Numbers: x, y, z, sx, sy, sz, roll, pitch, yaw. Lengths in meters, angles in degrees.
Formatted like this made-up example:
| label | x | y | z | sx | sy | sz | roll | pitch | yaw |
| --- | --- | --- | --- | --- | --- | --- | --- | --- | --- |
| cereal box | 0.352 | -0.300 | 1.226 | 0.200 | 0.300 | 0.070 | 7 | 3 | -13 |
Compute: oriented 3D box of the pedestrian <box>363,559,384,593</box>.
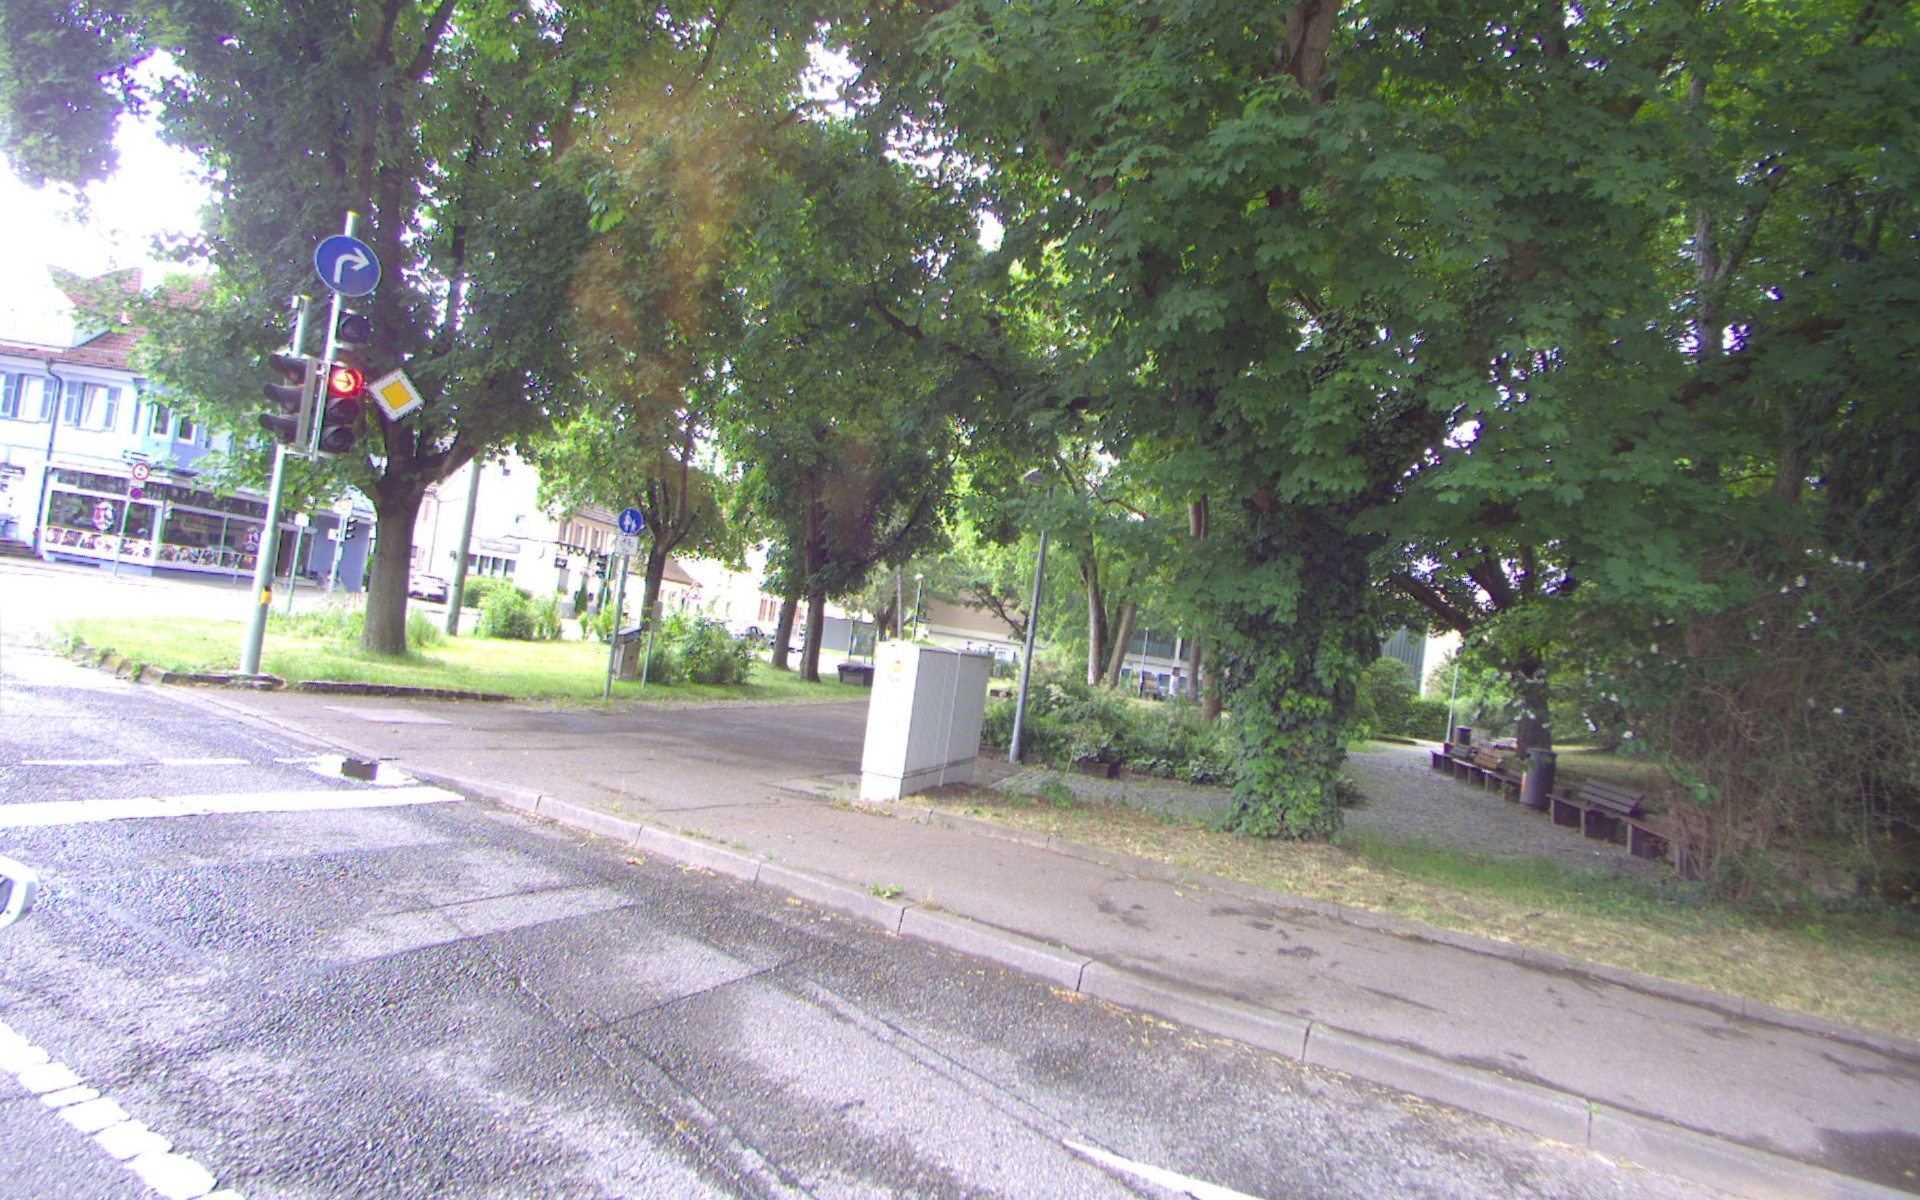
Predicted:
| label | x | y | z | sx | sy | sz | roll | pitch | yaw |
| --- | --- | --- | --- | --- | --- | --- | --- | --- | --- |
| pedestrian | -28.226 | -1.143 | 48.421 | 0.451 | 1.535 | 0.587 | 7 | -1 | 27 |

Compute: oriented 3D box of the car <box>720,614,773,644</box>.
| label | x | y | z | sx | sy | sz | roll | pitch | yaw |
| --- | --- | --- | --- | --- | --- | --- | --- | --- | --- |
| car | -11.569 | 1.597 | 54.820 | 1.530 | 1.336 | 3.514 | 7 | -2 | 9 |

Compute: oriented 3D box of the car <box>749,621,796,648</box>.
| label | x | y | z | sx | sy | sz | roll | pitch | yaw |
| --- | --- | --- | --- | --- | --- | --- | --- | --- | --- |
| car | -11.167 | 2.070 | 60.105 | 1.530 | 1.336 | 3.514 | 7 | -2 | 8 |

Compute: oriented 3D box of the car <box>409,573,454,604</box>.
| label | x | y | z | sx | sy | sz | roll | pitch | yaw |
| --- | --- | --- | --- | --- | --- | --- | --- | --- | --- |
| car | -27.871 | -0.603 | 53.144 | 1.479 | 1.384 | 3.166 | 8 | -2 | -19 |

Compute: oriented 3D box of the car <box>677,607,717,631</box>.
| label | x | y | z | sx | sy | sz | roll | pitch | yaw |
| --- | --- | --- | --- | --- | --- | --- | --- | --- | --- |
| car | -19.370 | 1.442 | 74.248 | 1.528 | 1.436 | 4.005 | 7 | -2 | 4 |

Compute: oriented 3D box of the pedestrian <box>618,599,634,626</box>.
| label | x | y | z | sx | sy | sz | roll | pitch | yaw |
| --- | --- | --- | --- | --- | --- | --- | --- | --- | --- |
| pedestrian | -21.086 | 0.790 | 63.482 | 0.600 | 1.668 | 0.610 | 7 | -1 | 3 |

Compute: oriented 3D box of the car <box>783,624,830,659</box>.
| label | x | y | z | sx | sy | sz | roll | pitch | yaw |
| --- | --- | --- | --- | --- | --- | --- | --- | --- | --- |
| car | -10.056 | 2.758 | 66.174 | 1.750 | 2.037 | 4.005 | 7 | -2 | 7 |

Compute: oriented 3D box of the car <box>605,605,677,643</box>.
| label | x | y | z | sx | sy | sz | roll | pitch | yaw |
| --- | --- | --- | --- | --- | --- | --- | --- | --- | --- |
| car | -14.011 | 1.090 | 44.356 | 1.530 | 1.336 | 3.514 | 7 | -2 | 9 |
